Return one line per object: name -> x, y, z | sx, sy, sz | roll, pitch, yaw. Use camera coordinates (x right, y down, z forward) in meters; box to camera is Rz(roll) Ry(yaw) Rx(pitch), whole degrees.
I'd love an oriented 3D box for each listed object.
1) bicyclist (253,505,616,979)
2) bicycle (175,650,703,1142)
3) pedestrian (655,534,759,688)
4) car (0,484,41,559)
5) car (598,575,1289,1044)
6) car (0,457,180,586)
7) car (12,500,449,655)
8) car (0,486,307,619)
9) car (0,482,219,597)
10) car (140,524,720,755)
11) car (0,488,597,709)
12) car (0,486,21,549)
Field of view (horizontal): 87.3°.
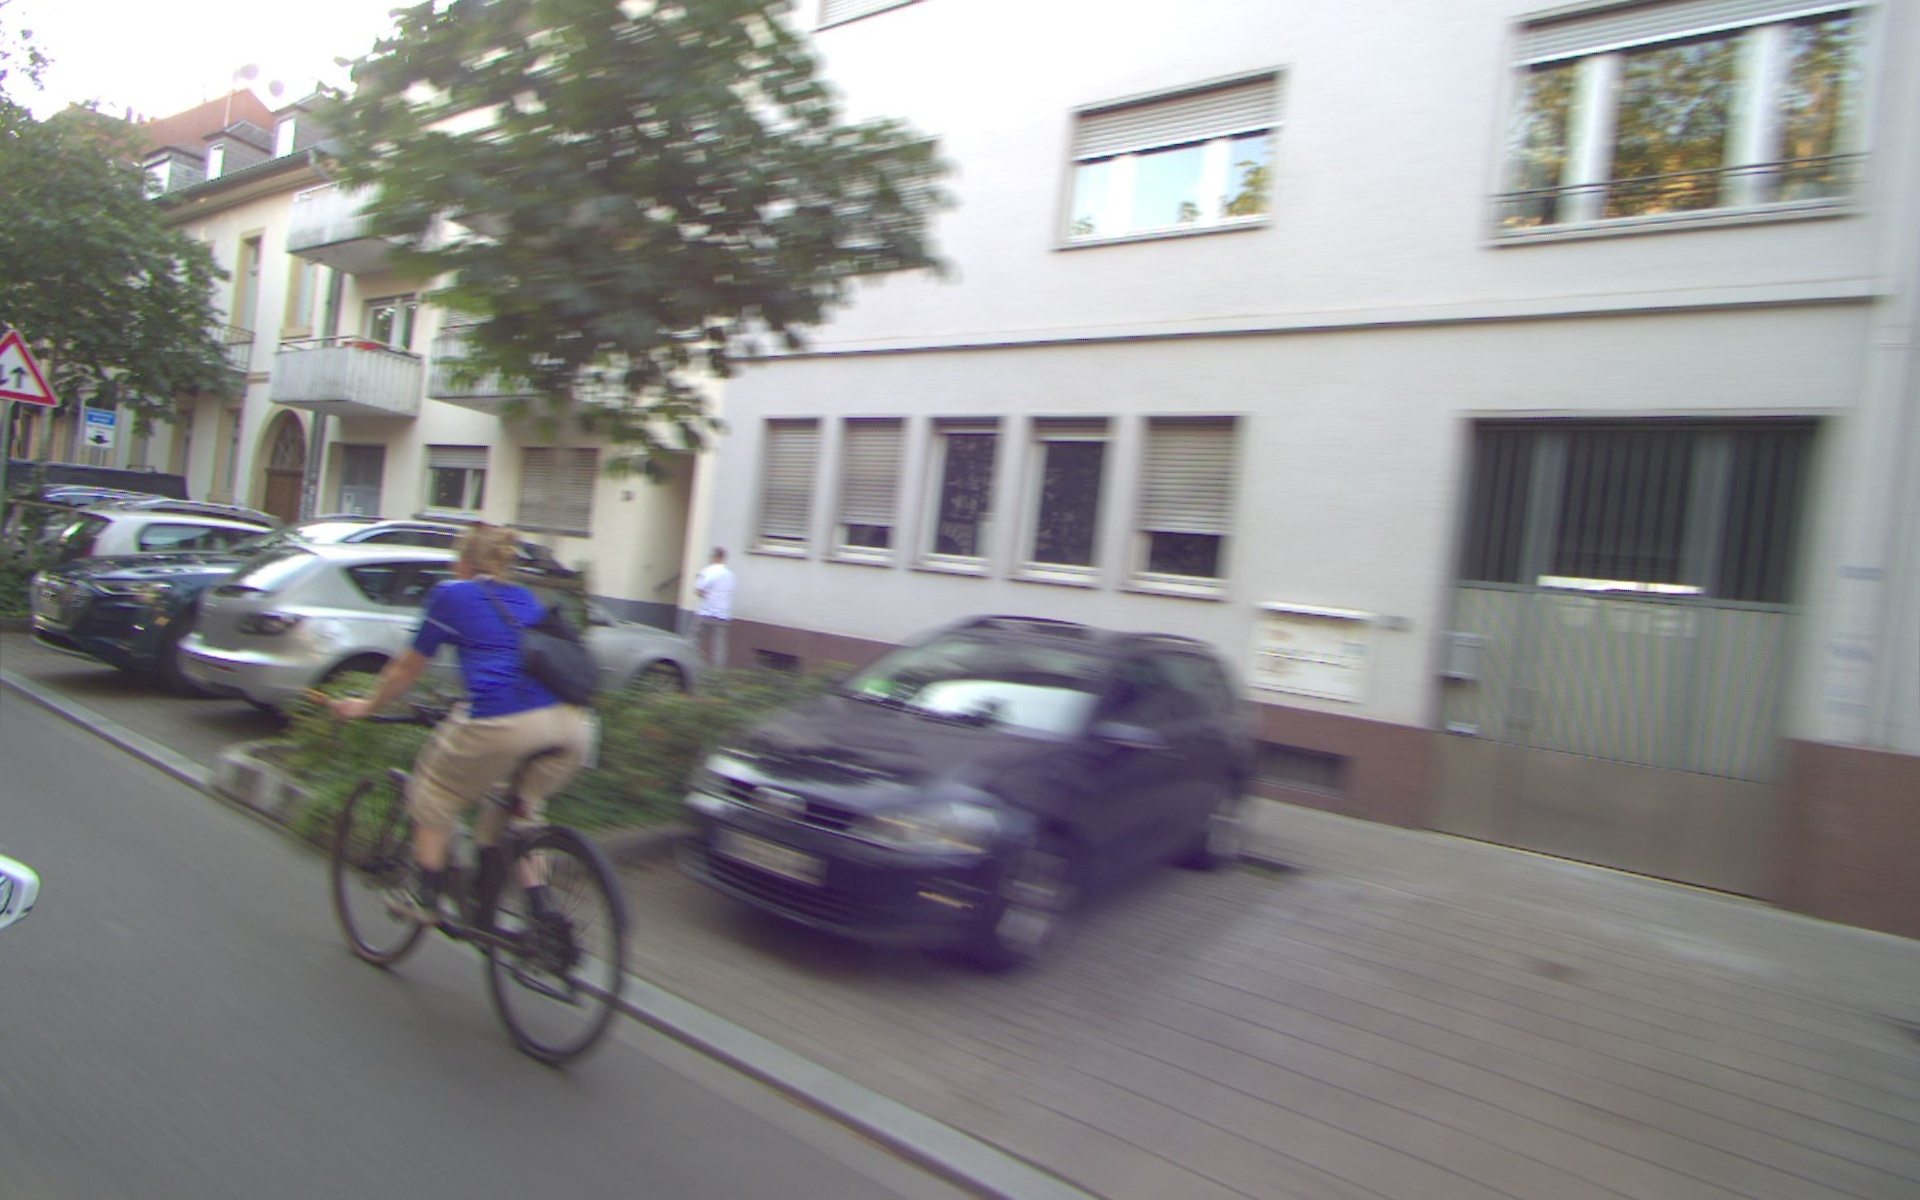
bicyclist -> -1.800, 0.436, 3.470 | 0.764, 1.379, 0.673 | 7, -1, 35
bicycle -> -1.866, 0.838, 3.465 | 1.945, 1.042, 0.673 | 7, -2, 35
pedestrian -> -3.200, 0.143, 12.717 | 0.867, 1.817, 0.697 | 7, 1, 35
car -> -22.484, -1.852, 21.657 | 1.687, 1.600, 3.677 | 7, 2, 35
car -> 0.351, 0.860, 5.812 | 1.765, 1.515, 4.317 | 7, 0, 33
car -> -16.606, -1.424, 17.245 | 2.004, 2.038, 4.687 | 7, 2, 33
car -> -8.351, -0.213, 11.839 | 1.670, 1.442, 3.791 | 7, 2, 33
car -> -11.821, -0.647, 14.164 | 1.821, 1.600, 3.964 | 7, 2, 33
car -> -14.505, -0.995, 15.808 | 1.938, 1.600, 4.154 | 7, 2, 33
car -> -4.323, 0.286, 8.790 | 1.790, 1.448, 4.069 | 7, 2, 36
car -> -6.193, -0.007, 9.975 | 1.913, 1.600, 4.588 | 7, 2, 33
car -> -24.559, -2.099, 23.138 | 1.895, 1.457, 3.986 | 7, 2, 33
